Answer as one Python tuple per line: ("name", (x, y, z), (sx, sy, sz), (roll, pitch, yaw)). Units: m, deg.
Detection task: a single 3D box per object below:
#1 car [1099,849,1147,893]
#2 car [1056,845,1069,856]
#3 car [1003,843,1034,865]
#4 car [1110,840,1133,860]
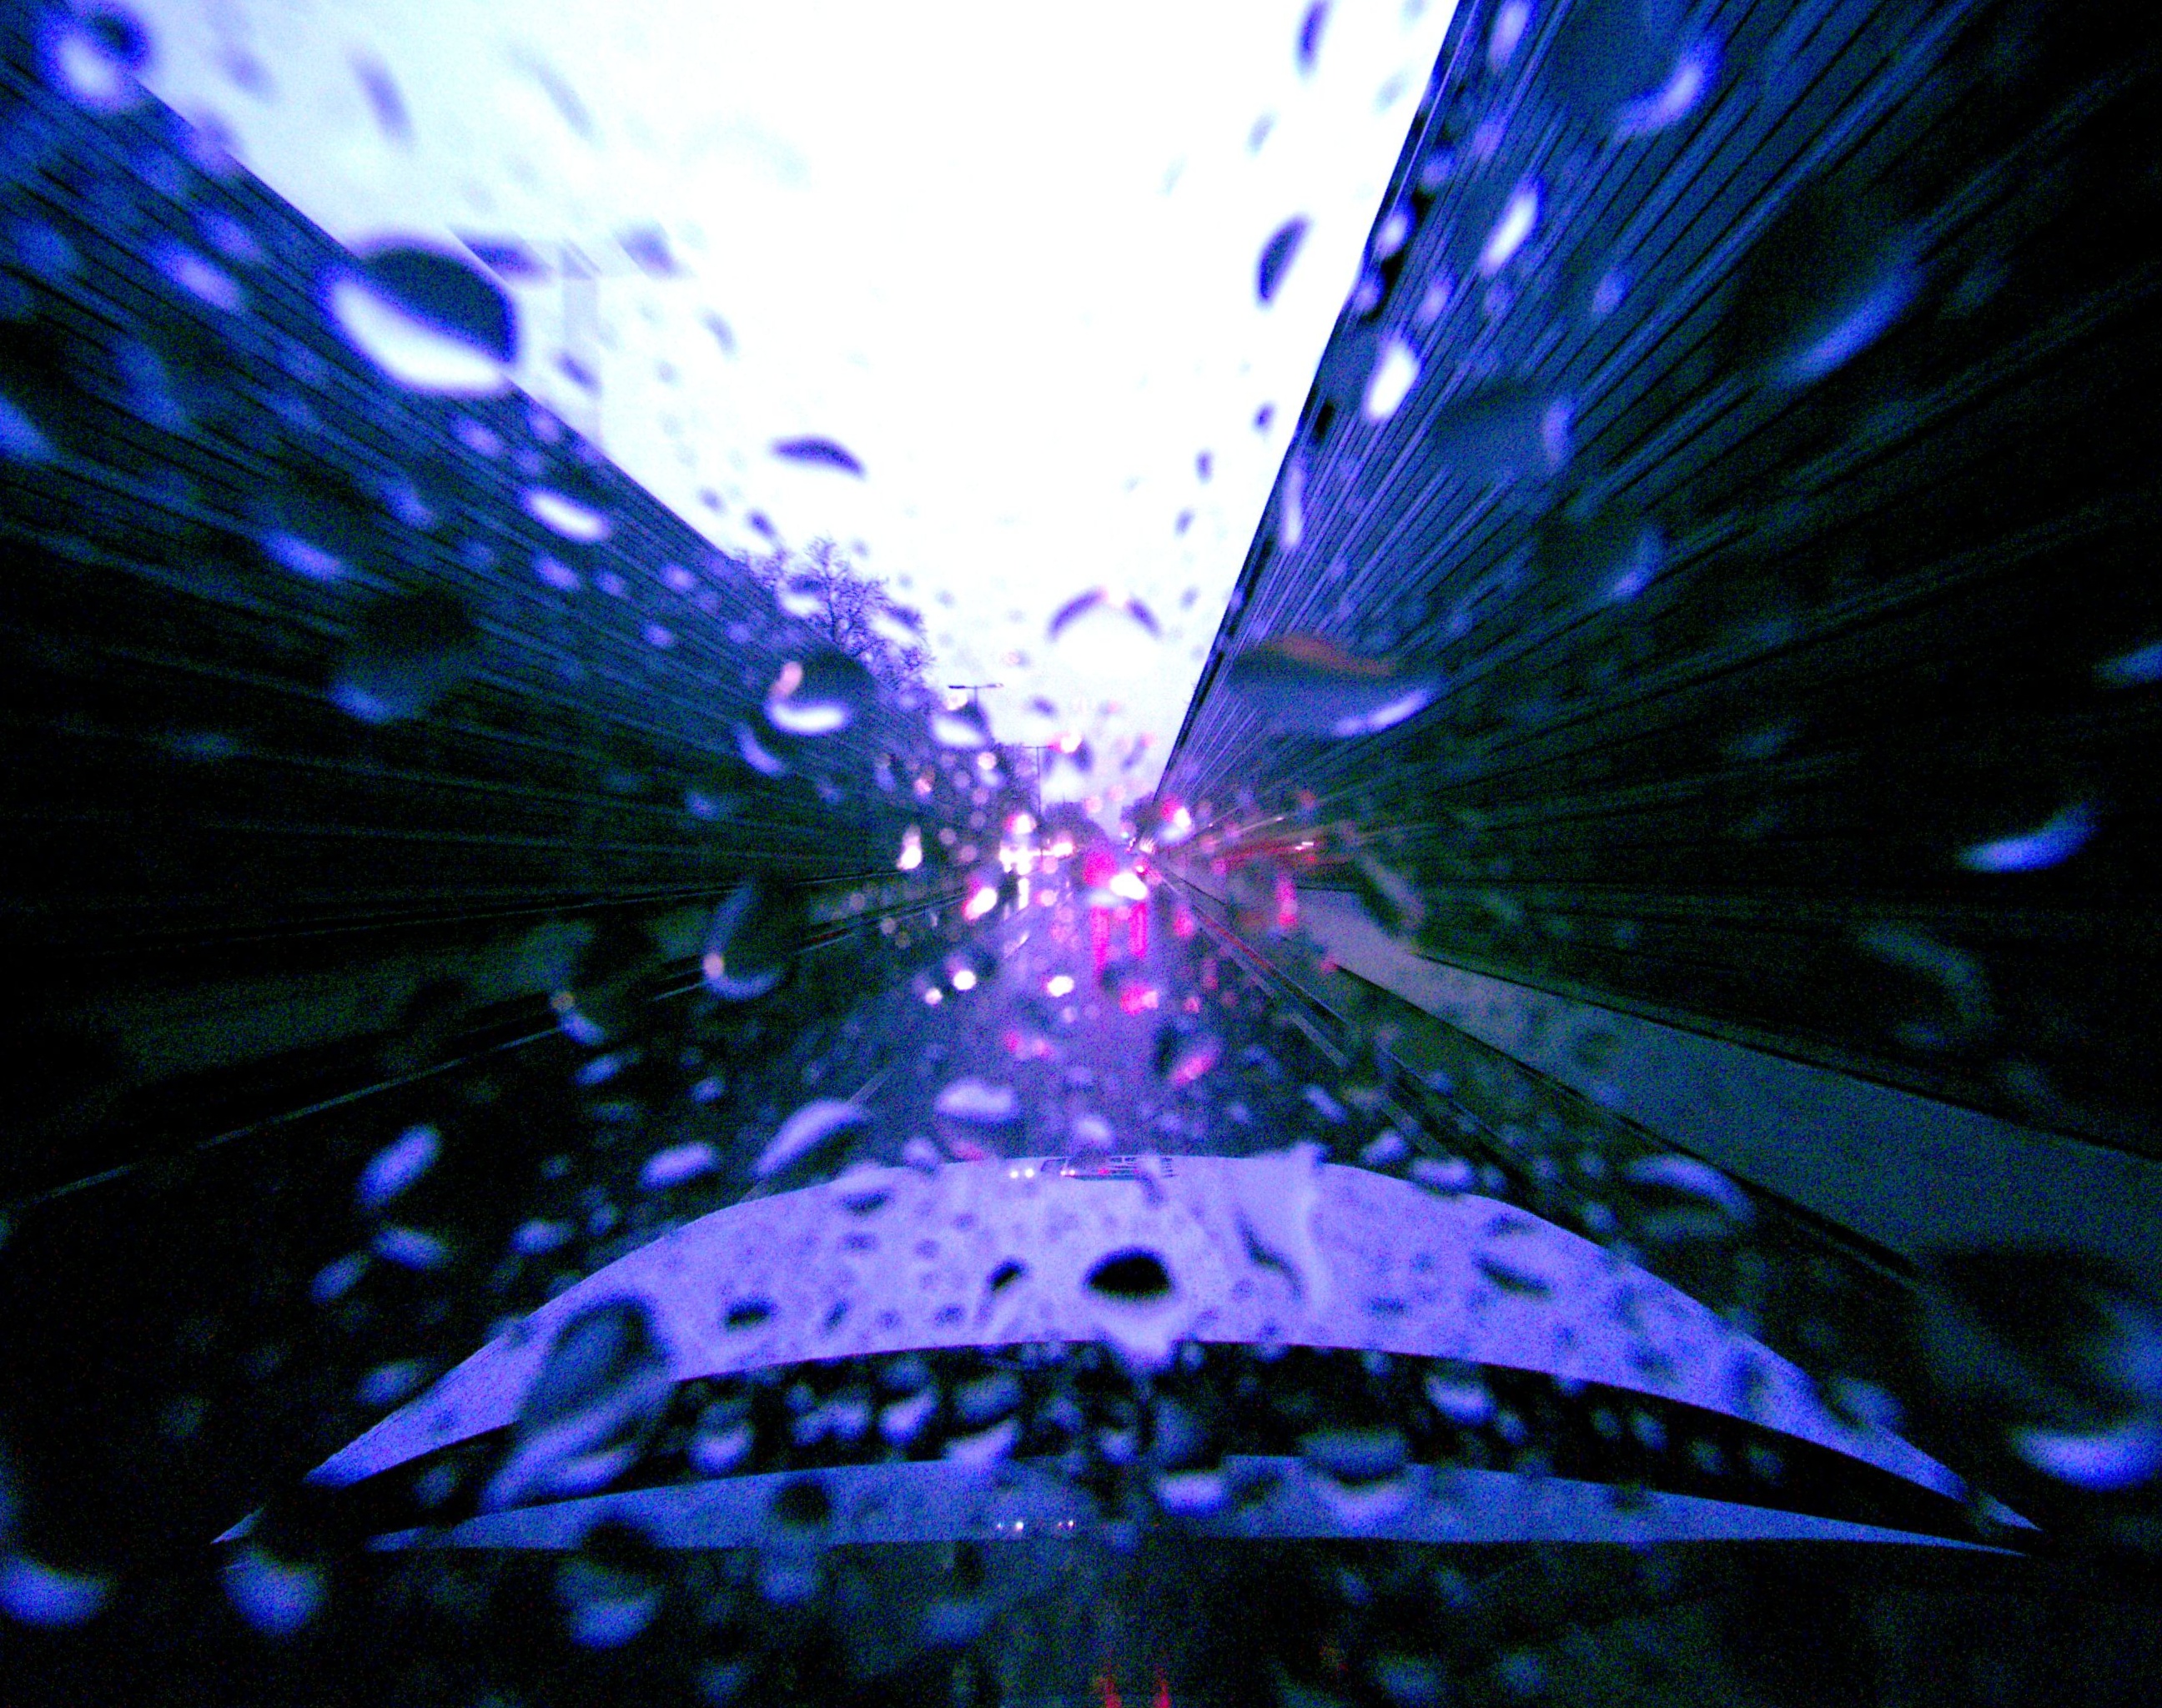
("car", (1.406, 0.554, 27.322), (1.525, 1.397, 3.436), (0, -1, 3))
("car", (-2.632, -0.566, 117.404), (1.565, 1.470, 3.689), (-1, 1, 2))
("car", (-4.982, 0.024, 65.321), (1.872, 1.621, 4.003), (0, -2, 3))
("car", (3.645, -0.353, 73.844), (1.874, 1.621, 4.000), (0, -2, 1))
